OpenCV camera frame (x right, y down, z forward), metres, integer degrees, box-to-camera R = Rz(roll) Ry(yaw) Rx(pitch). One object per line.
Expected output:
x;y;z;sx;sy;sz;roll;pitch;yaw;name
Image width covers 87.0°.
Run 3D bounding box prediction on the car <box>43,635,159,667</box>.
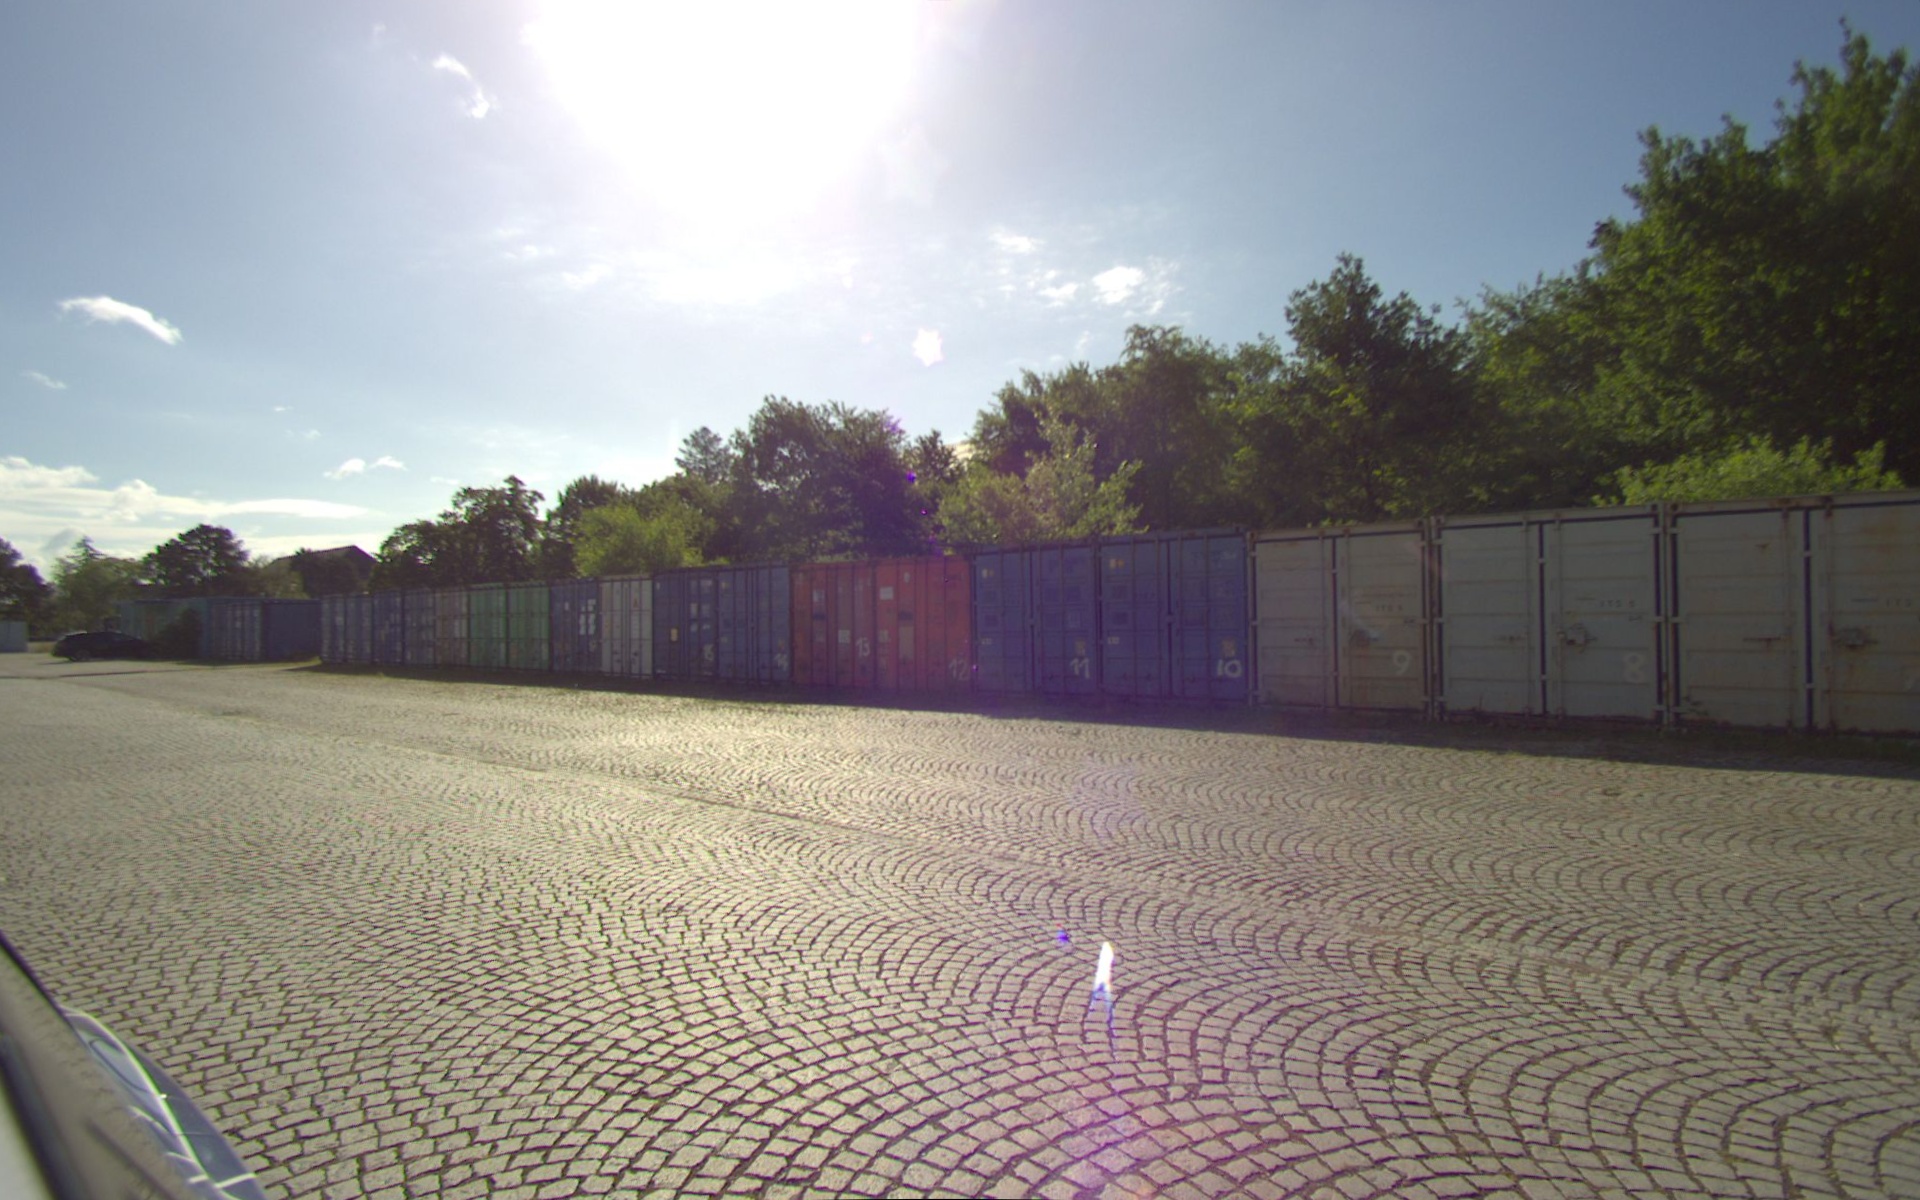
-42.450;2.489;50.084;1.998;1.306;4.062;-2;0;38;car
